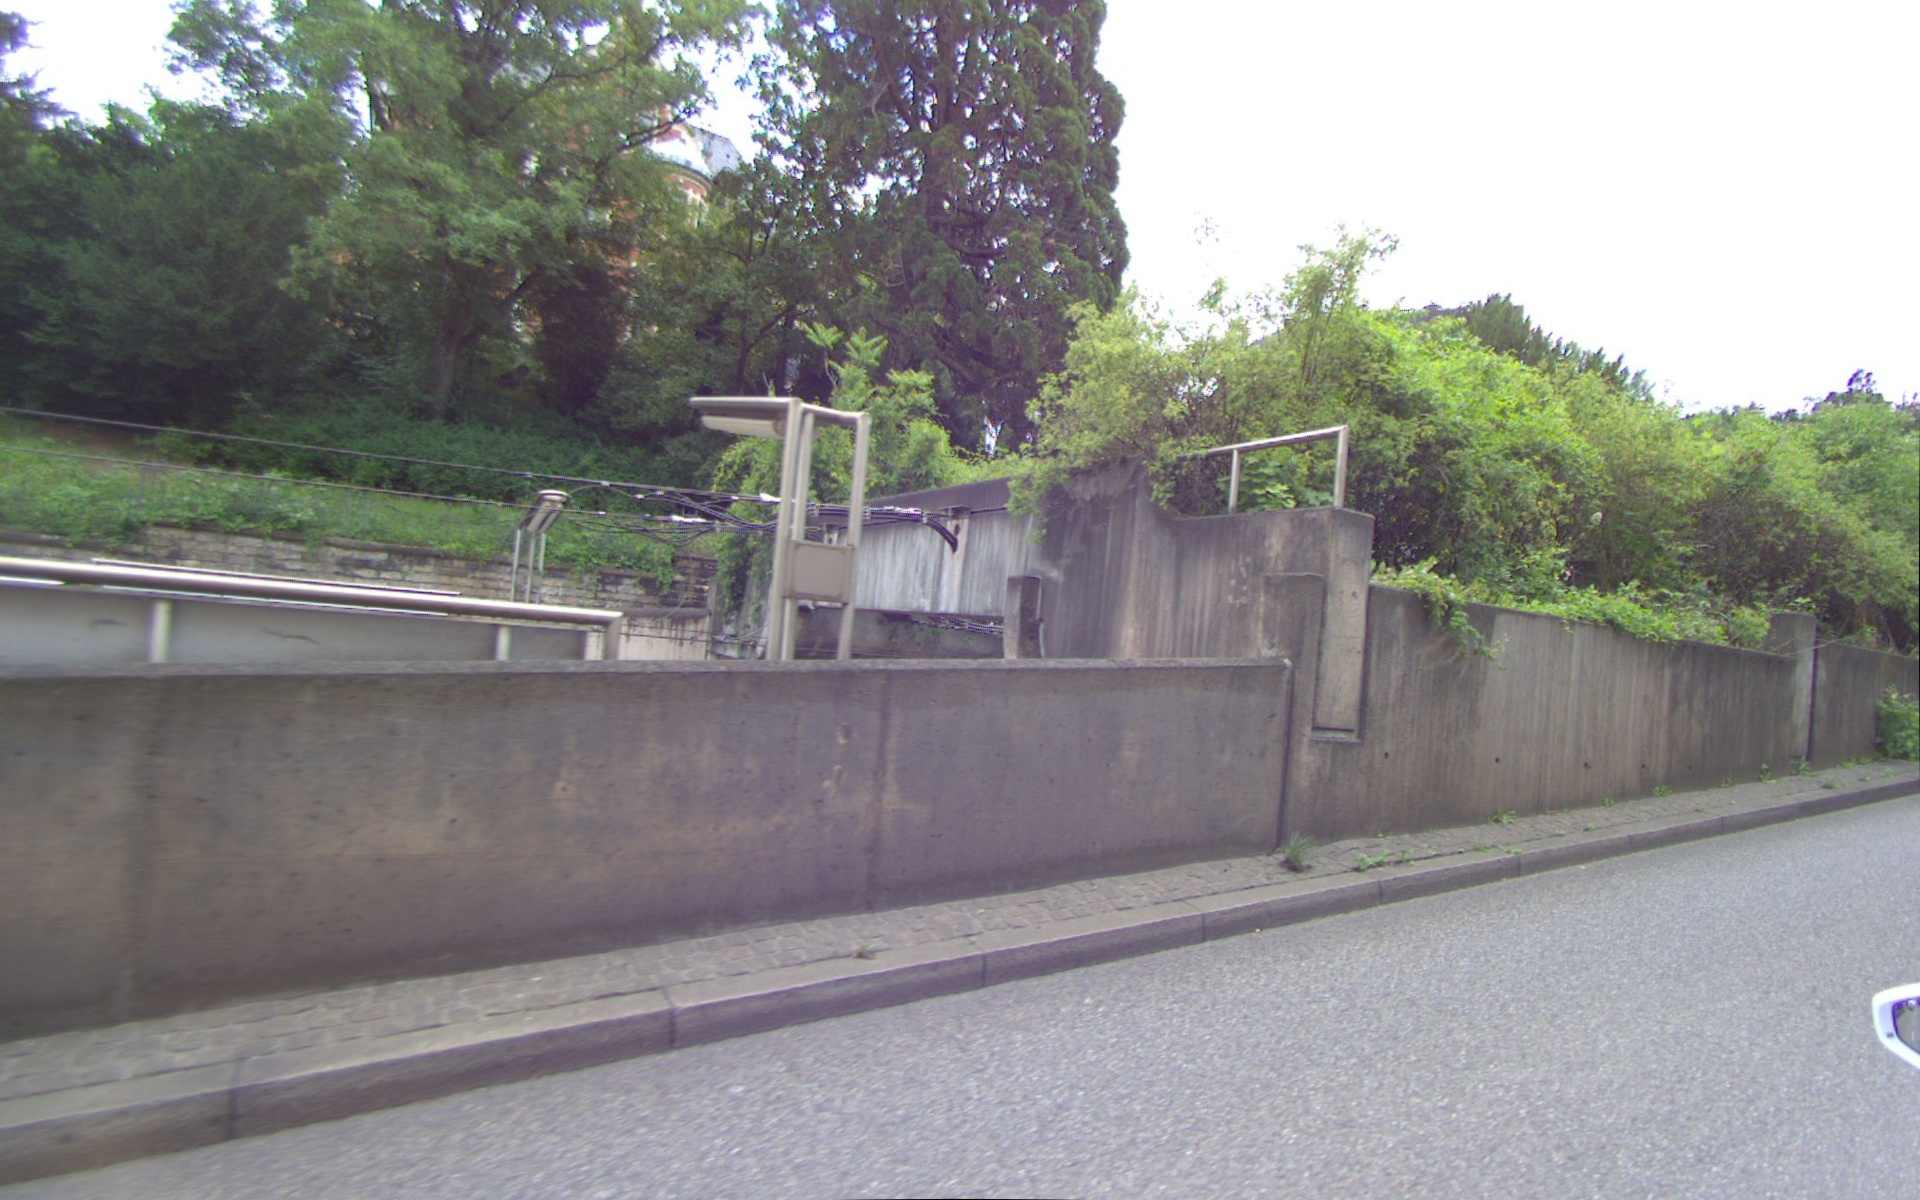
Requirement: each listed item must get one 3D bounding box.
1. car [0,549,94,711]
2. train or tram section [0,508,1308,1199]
[{"bbox_3d":[-14.009,0.298,12.959,3.956,2.040,1.982,3,1,-32],"label":"car"},{"bbox_3d":[-2.951,1.482,7.762,12.836,3.554,2.935,4,-1,-30],"label":"train or tram section"}]
